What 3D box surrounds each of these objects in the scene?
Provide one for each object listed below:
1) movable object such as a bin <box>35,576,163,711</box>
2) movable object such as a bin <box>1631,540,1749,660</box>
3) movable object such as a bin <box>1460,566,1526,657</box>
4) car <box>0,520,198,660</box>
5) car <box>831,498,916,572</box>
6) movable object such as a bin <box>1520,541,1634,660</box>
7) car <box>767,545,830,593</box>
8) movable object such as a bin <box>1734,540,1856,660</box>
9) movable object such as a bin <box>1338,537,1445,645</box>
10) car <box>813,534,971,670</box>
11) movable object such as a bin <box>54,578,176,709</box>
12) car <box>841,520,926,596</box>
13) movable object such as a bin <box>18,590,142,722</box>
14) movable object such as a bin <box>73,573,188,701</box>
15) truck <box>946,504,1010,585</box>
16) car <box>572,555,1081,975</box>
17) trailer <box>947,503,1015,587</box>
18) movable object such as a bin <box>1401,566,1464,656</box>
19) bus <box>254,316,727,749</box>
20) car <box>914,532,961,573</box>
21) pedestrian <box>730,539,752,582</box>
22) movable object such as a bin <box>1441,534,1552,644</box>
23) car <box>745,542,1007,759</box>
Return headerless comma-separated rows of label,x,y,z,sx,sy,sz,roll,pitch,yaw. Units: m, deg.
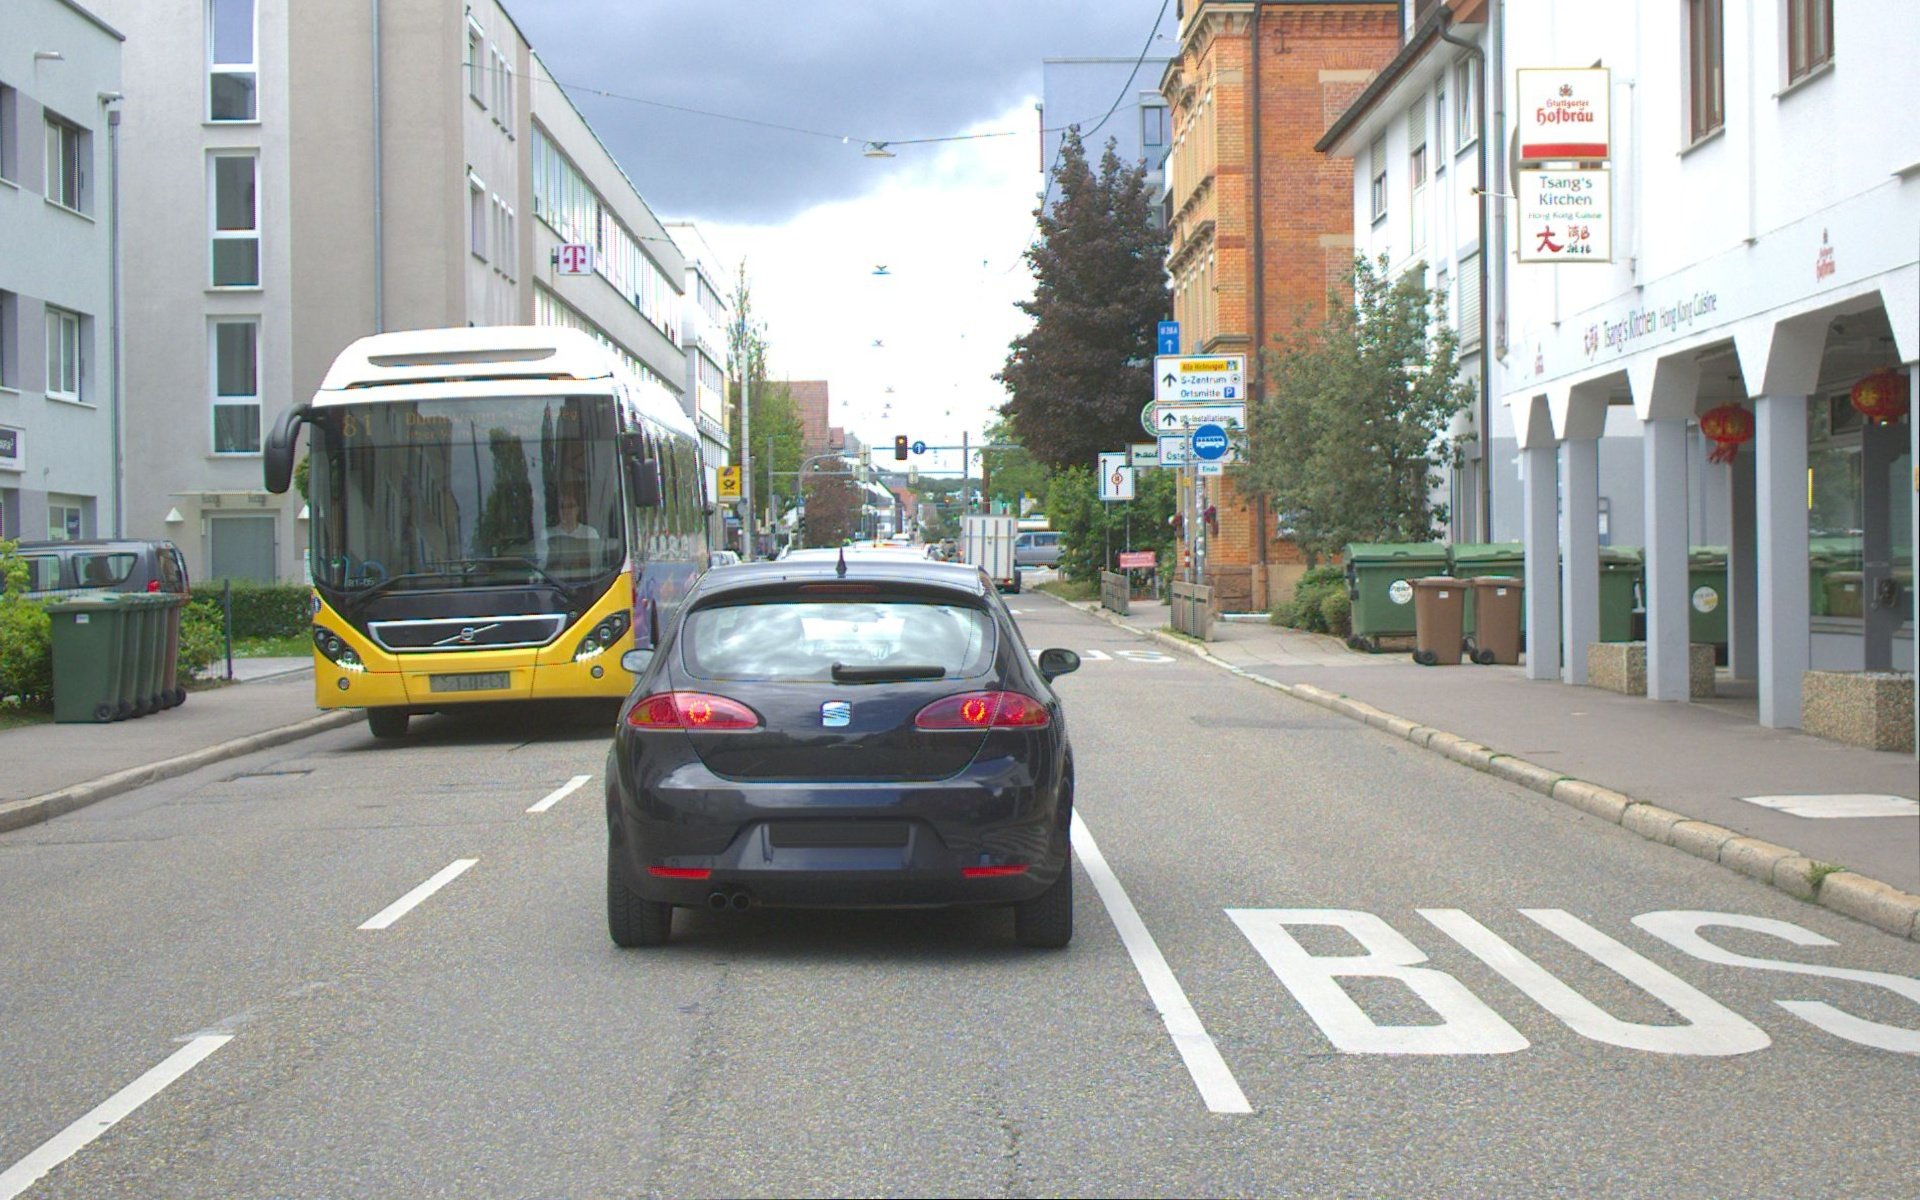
movable object such as a bin,-7.539,0.374,30.125,0.956,1.147,0.840,0,1,-5
movable object such as a bin,8.794,-0.011,41.465,1.209,1.412,1.259,0,1,3
movable object such as a bin,6.478,0.131,41.829,0.698,1.075,0.971,0,1,3
car,-11.708,-0.114,42.442,4.163,1.662,1.724,-1,0,3
car,-1.881,-1.417,75.053,1.803,1.547,3.738,-1,1,-1
movable object such as a bin,7.431,-0.003,41.479,1.209,1.412,1.259,0,1,3
car,-5.291,-1.034,113.223,1.878,1.446,4.214,-3,1,-1
movable object such as a bin,10.052,-0.014,41.427,1.209,1.412,1.259,0,1,3
movable object such as a bin,5.732,-0.129,45.773,1.267,1.412,1.162,0,1,0
car,-0.824,-0.006,41.432,1.803,1.547,3.738,-1,1,-1
movable object such as a bin,-7.601,0.381,30.951,0.948,1.147,0.749,0,1,-5
car,-1.679,-0.930,75.149,1.803,1.596,3.738,1,1,-1
movable object such as a bin,-7.479,0.471,29.244,0.894,1.085,0.793,0,1,-5
movable object such as a bin,-7.634,0.336,31.665,0.940,1.147,0.613,0,1,-5
truck,0.578,-1.827,112.667,1.993,2.598,3.260,-1,1,-1
car,-0.486,0.550,13.899,1.765,1.428,3.828,0,1,-1
trailer,0.640,-1.768,109.837,1.993,2.598,5.350,-1,1,-1
movable object such as a bin,5.748,0.128,41.854,0.683,1.063,0.971,0,1,3
bus,-4.042,-0.653,32.653,2.942,3.262,12.009,-2,1,-1
car,-0.898,-1.872,135.296,1.803,1.596,3.738,1,1,-1
pedestrian,-9.456,-1.712,148.623,0.918,1.862,0.783,0,1,-1
movable object such as a bin,7.089,-0.153,45.496,1.267,1.430,1.307,0,1,0
car,-0.626,0.319,25.702,1.803,1.487,3.738,-1,1,-1
